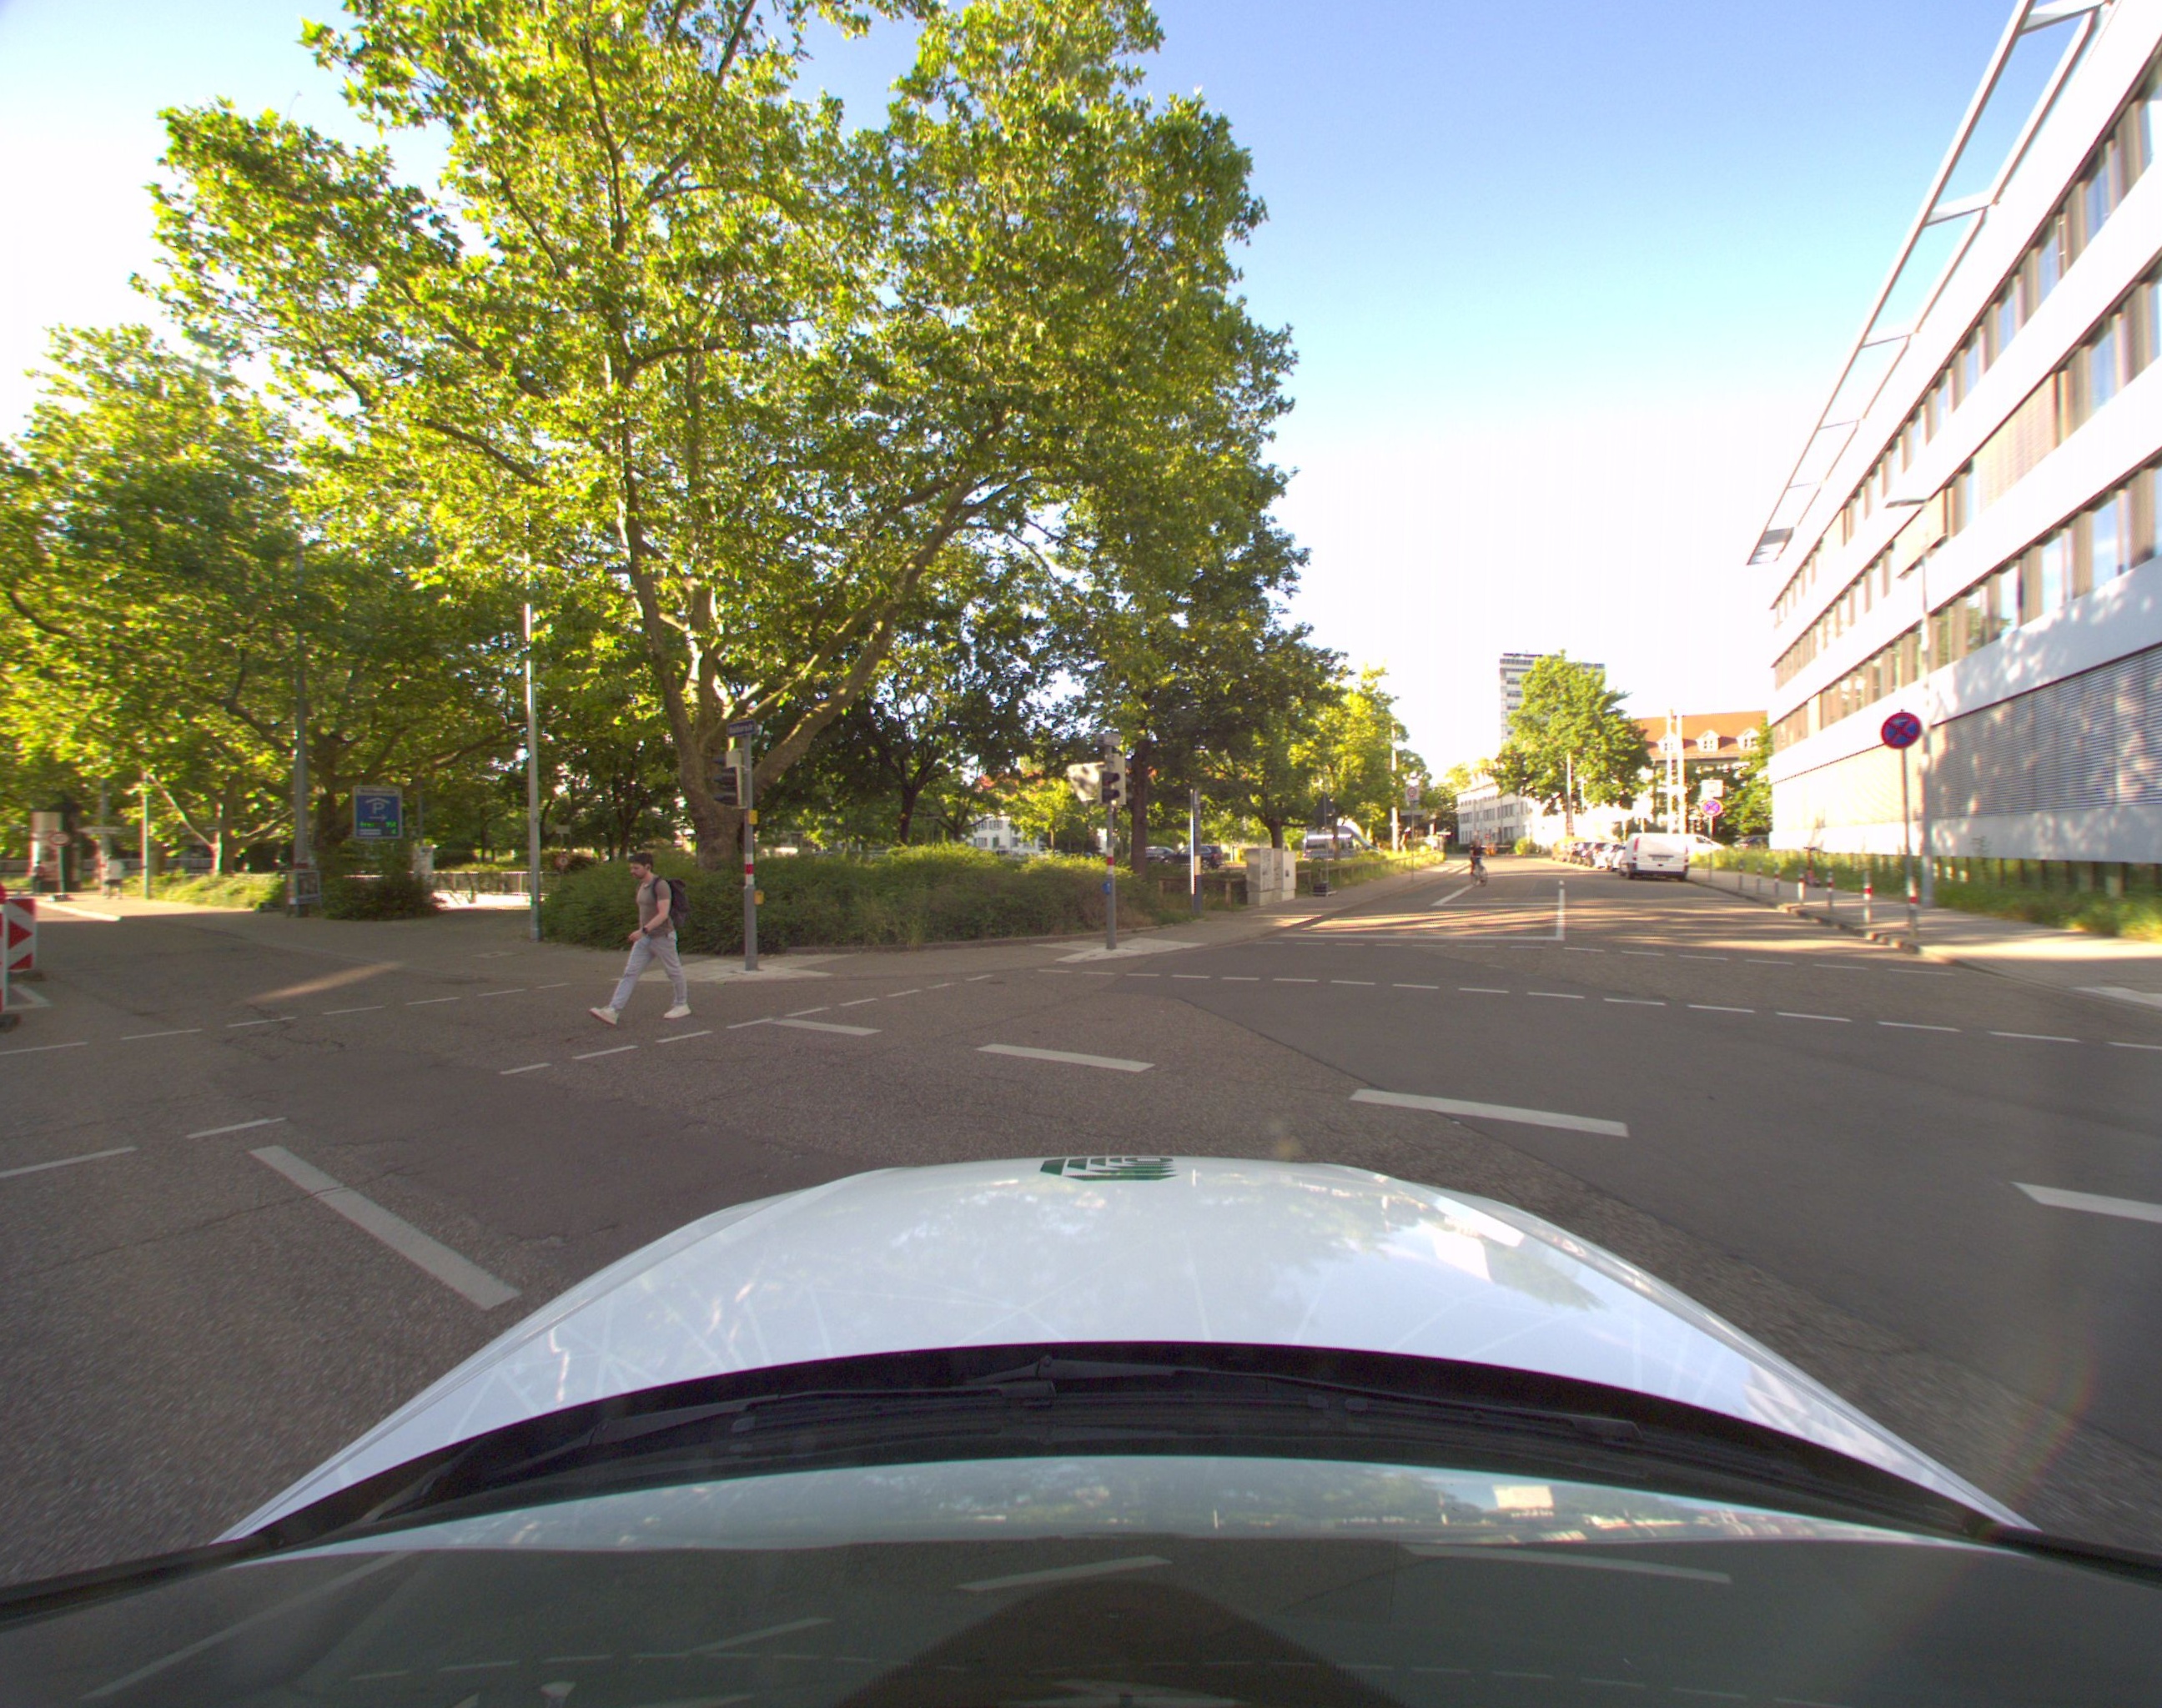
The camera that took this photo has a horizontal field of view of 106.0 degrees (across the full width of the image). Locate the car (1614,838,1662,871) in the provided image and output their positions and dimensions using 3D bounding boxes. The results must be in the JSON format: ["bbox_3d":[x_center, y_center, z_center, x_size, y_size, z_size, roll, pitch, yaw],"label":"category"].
[{"bbox_3d":[25.954,-0.006,38.032,1.609,1.485,3.875,-1,1,31],"label":"car"}]

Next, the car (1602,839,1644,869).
[{"bbox_3d":[28.085,-0.039,42.303,1.609,1.485,3.875,-1,1,31],"label":"car"}]

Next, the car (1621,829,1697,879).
[{"bbox_3d":[22.865,-0.050,32.370,2.082,1.828,4.750,-1,1,31],"label":"car"}]

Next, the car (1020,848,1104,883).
[{"bbox_3d":[-1.053,0.617,44.328,4.256,1.811,1.799,-1,0,31],"label":"car"}]

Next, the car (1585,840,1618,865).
[{"bbox_3d":[32.594,-0.121,51.050,1.609,1.485,3.875,-1,1,31],"label":"car"}]

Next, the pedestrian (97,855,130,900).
[{"bbox_3d":[-40.867,0.980,34.396,1.119,1.812,0.752,2,3,33],"label":"pedestrian"}]

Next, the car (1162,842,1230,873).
[{"bbox_3d":[7.950,0.235,56.237,4.256,2.088,1.799,0,0,31],"label":"car"}]

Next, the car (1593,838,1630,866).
[{"bbox_3d":[30.295,-0.140,46.575,1.609,1.485,3.875,-1,1,31],"label":"car"}]

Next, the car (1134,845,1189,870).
[{"bbox_3d":[6.516,0.295,66.230,3.993,1.947,1.936,0,-1,32],"label":"car"}]

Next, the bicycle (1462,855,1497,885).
[{"bbox_3d":[14.547,0.568,29.789,0.711,1.017,2.032,-2,0,14],"label":"bicycle"}]

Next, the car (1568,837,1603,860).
[{"bbox_3d":[34.668,-0.404,56.035,1.610,1.490,3.623,-1,1,24],"label":"car"}]

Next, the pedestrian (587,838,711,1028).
[{"bbox_3d":[-4.326,0.737,8.172,0.738,1.772,0.890,-1,0,43],"label":"pedestrian"}]

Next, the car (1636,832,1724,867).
[{"bbox_3d":[45.935,-0.369,62.572,5.060,2.618,2.010,0,2,19],"label":"car"}]

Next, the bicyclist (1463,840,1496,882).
[{"bbox_3d":[14.540,0.249,29.755,0.869,1.535,1.092,-1,0,14],"label":"bicyclist"}]

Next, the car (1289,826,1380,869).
[{"bbox_3d":[15.952,-0.392,51.283,5.093,2.572,2.013,-1,0,31],"label":"car"}]

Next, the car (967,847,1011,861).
[{"bbox_3d":[-10.181,-0.019,90.134,4.597,1.475,2.027,0,-1,33],"label":"car"}]

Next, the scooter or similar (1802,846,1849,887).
[{"bbox_3d":[22.145,0.353,24.253,0.691,1.179,1.568,-1,0,30],"label":"scooter or similar"}]

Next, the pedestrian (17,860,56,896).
[{"bbox_3d":[-49.000,1.130,38.211,0.932,1.623,0.711,-1,0,1],"label":"pedestrian"}]

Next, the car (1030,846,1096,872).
[{"bbox_3d":[-1.182,0.340,53.329,3.948,1.626,1.936,0,-1,33],"label":"car"}]

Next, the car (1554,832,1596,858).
[{"bbox_3d":[36.993,-0.720,61.104,2.065,1.786,4.941,-1,2,24],"label":"car"}]
